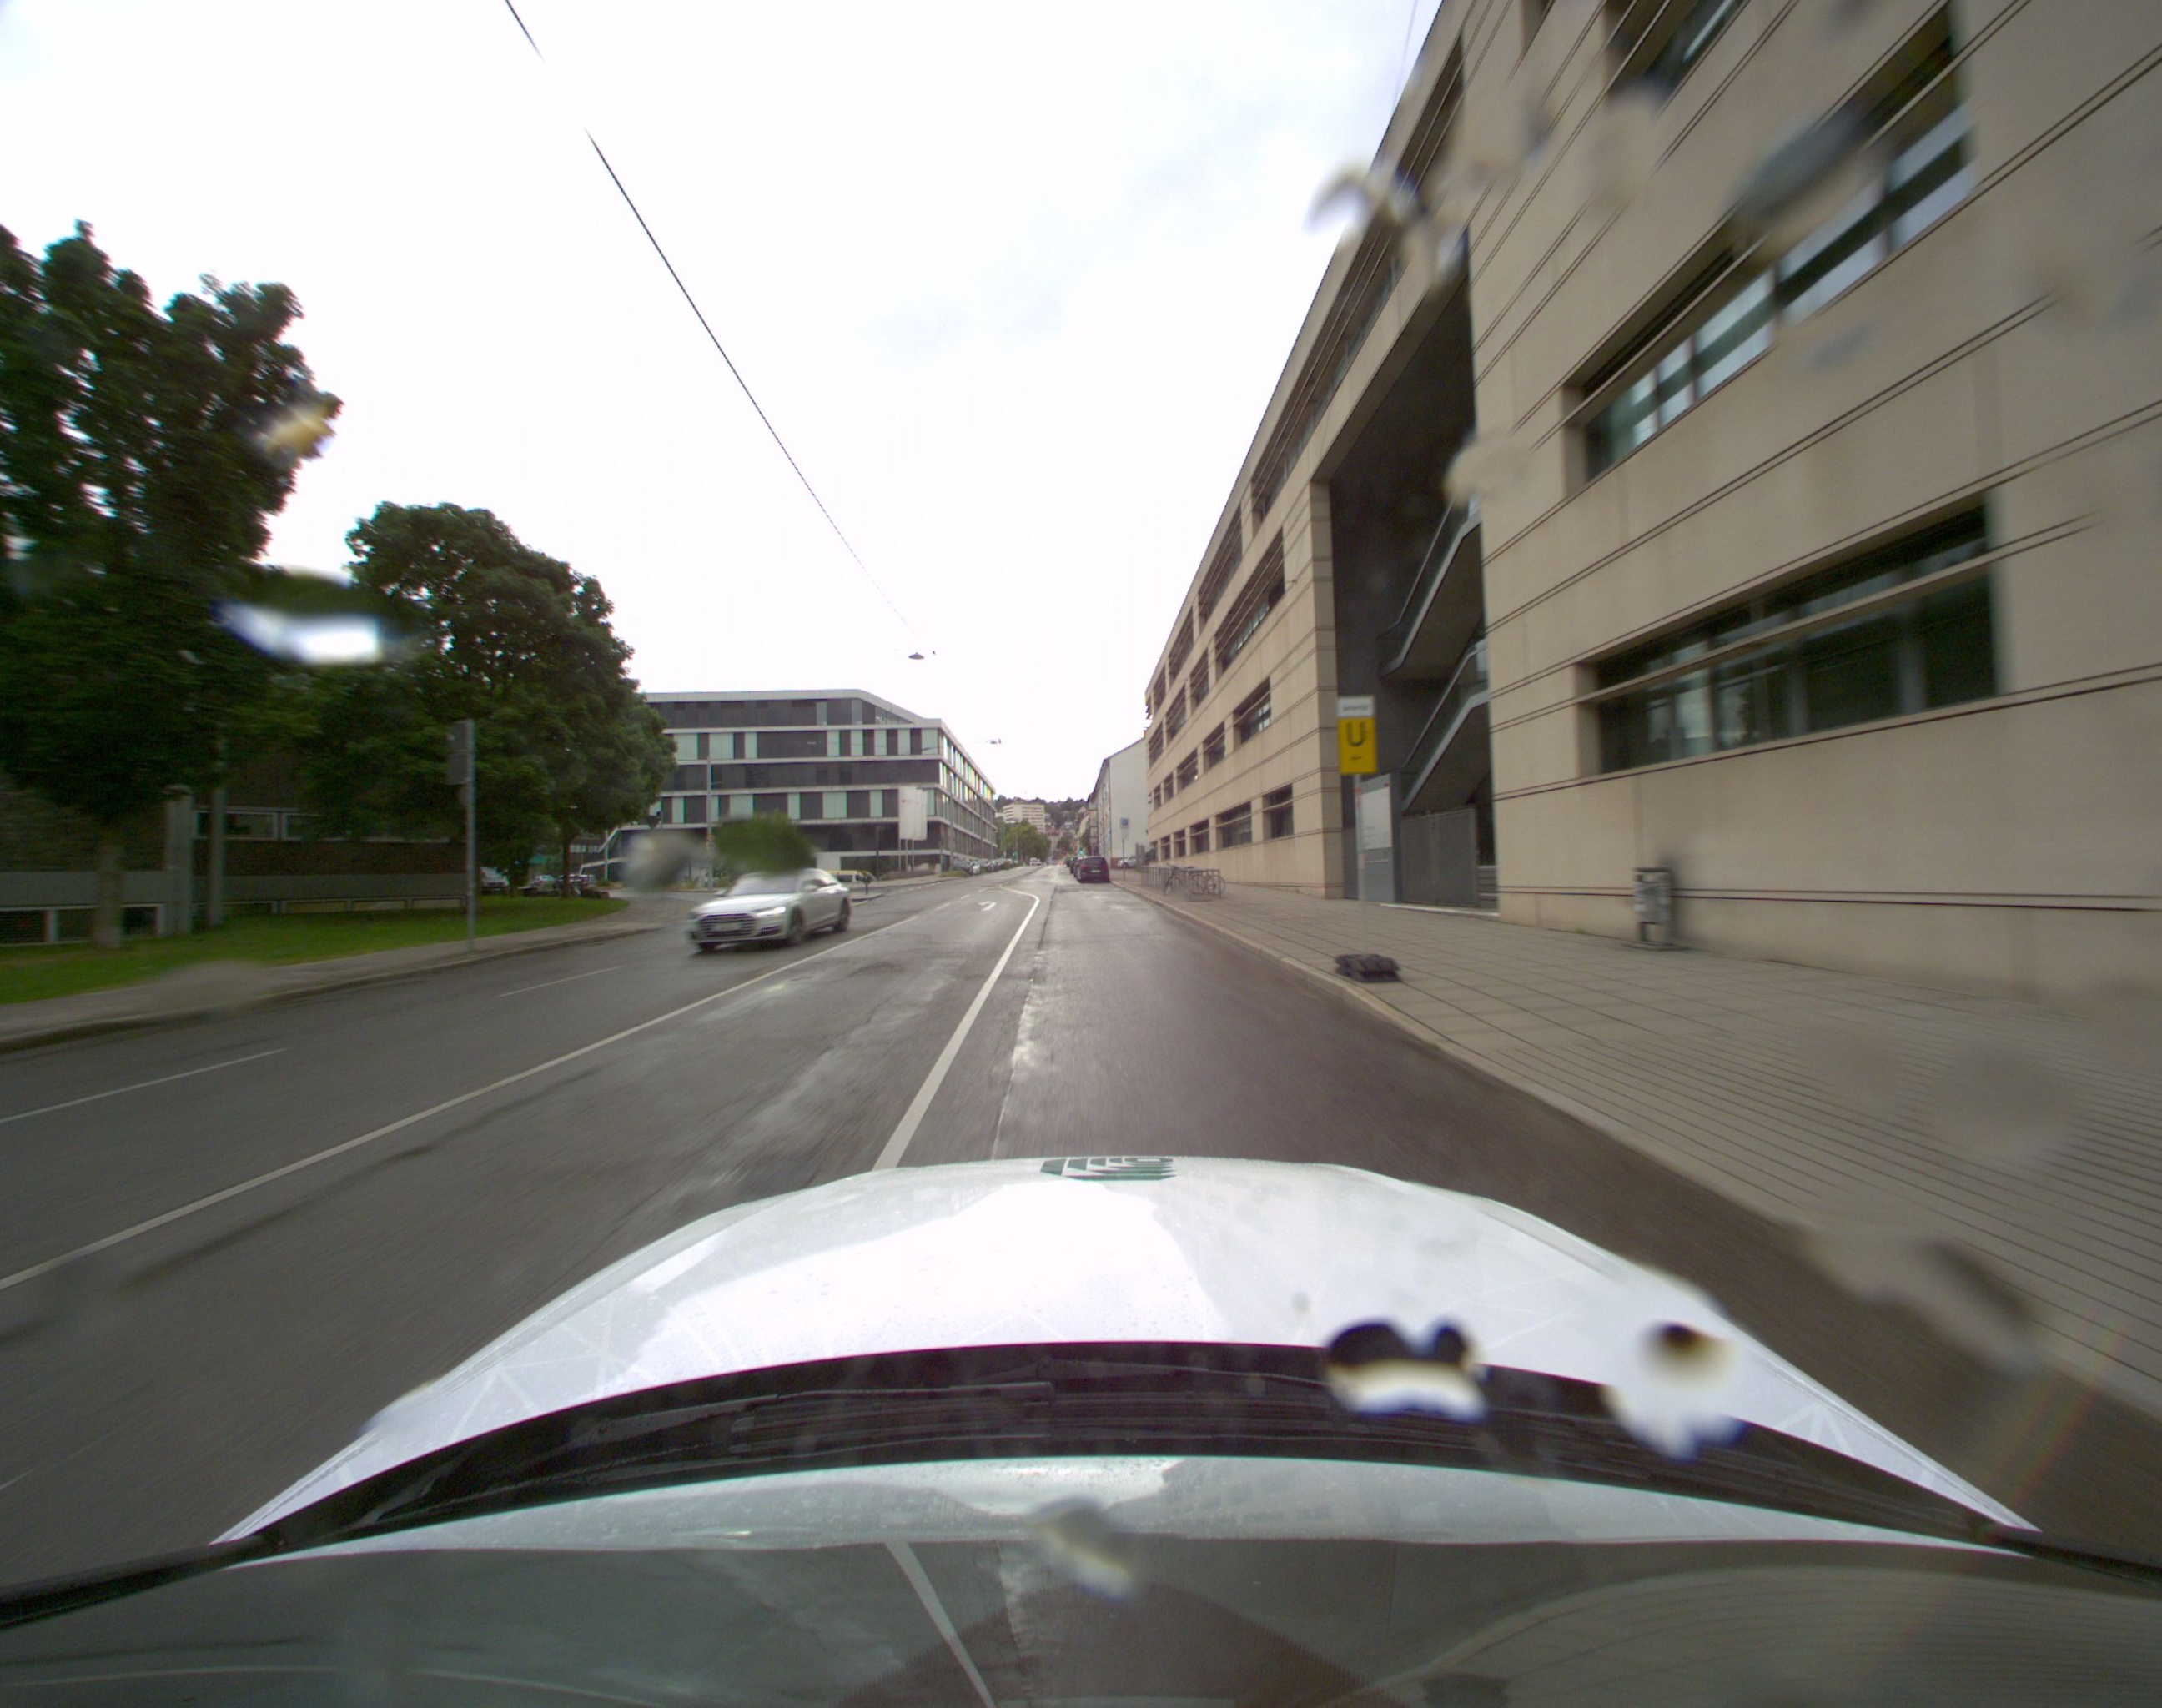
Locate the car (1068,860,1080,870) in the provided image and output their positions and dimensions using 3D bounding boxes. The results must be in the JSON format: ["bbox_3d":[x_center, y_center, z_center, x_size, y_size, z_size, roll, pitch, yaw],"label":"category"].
[{"bbox_3d":[-0.986,1.583,117.850,1.702,1.454,3.981,-1,-1,-2],"label":"car"}]

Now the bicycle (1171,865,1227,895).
[{"bbox_3d":[3.942,0.870,27.255,1.756,0.953,0.658,-1,-1,-5],"label":"bicycle"}]

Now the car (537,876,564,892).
[{"bbox_3d":[-56.659,3.205,86.992,1.816,1.588,3.633,0,-1,-43],"label":"car"}]

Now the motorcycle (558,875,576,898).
[{"bbox_3d":[-26.774,1.691,42.417,1.155,1.125,0.415,-3,-2,36],"label":"motorcycle"}]

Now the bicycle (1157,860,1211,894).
[{"bbox_3d":[3.564,0.792,28.223,1.728,1.119,0.658,-1,-1,-7],"label":"bicycle"}]

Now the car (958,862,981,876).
[{"bbox_3d":[-11.635,1.534,85.204,1.816,1.419,4.399,-1,-1,-1],"label":"car"}]

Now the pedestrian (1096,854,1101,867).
[{"bbox_3d":[2.502,0.883,115.422,0.637,1.870,0.538,-1,-1,0],"label":"pedestrian"}]

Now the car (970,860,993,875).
[{"bbox_3d":[-11.626,1.593,95.348,1.956,1.750,4.942,-1,-1,1],"label":"car"}]

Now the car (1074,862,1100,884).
[{"bbox_3d":[0.407,1.374,59.177,1.721,1.512,4.054,1,-1,-2],"label":"car"}]

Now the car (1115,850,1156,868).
[{"bbox_3d":[6.176,0.603,92.555,4.427,1.712,1.903,-4,-1,-3],"label":"car"}]

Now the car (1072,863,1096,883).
[{"bbox_3d":[0.249,1.516,66.600,1.739,1.533,4.314,0,-1,-3],"label":"car"}]

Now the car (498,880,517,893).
[{"bbox_3d":[-70.523,3.948,100.100,1.450,1.494,3.594,-1,0,-43],"label":"car"}]

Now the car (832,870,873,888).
[{"bbox_3d":[-26.453,2.868,94.338,4.331,2.032,1.597,-1,-1,-2],"label":"car"}]

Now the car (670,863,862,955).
[{"bbox_3d":[-6.391,1.018,17.294,1.875,1.491,5.220,-4,0,1],"label":"car"}]

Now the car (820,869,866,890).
[{"bbox_3d":[-26.352,2.825,90.306,4.586,2.174,1.926,0,-1,-8],"label":"car"}]

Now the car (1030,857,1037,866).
[{"bbox_3d":[-14.432,2.222,245.301,2.101,2.546,4.744,-1,-1,-4],"label":"car"}]

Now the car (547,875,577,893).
[{"bbox_3d":[-53.302,3.055,83.638,1.932,1.739,3.951,0,-1,-43],"label":"car"}]

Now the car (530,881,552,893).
[{"bbox_3d":[-59.411,3.673,89.653,1.489,1.241,3.359,0,-1,-43],"label":"car"}]

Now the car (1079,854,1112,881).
[{"bbox_3d":[0.838,0.830,50.942,1.767,1.604,4.389,-1,-1,-3],"label":"car"}]

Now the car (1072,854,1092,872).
[{"bbox_3d":[0.048,0.930,83.511,1.930,1.750,4.793,-1,-1,-2],"label":"car"}]

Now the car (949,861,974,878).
[{"bbox_3d":[-11.507,1.456,78.506,1.844,1.617,4.488,-1,-1,-1],"label":"car"}]

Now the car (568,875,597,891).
[{"bbox_3d":[-48.698,2.826,79.504,1.678,1.450,3.821,0,-1,-43],"label":"car"}]
